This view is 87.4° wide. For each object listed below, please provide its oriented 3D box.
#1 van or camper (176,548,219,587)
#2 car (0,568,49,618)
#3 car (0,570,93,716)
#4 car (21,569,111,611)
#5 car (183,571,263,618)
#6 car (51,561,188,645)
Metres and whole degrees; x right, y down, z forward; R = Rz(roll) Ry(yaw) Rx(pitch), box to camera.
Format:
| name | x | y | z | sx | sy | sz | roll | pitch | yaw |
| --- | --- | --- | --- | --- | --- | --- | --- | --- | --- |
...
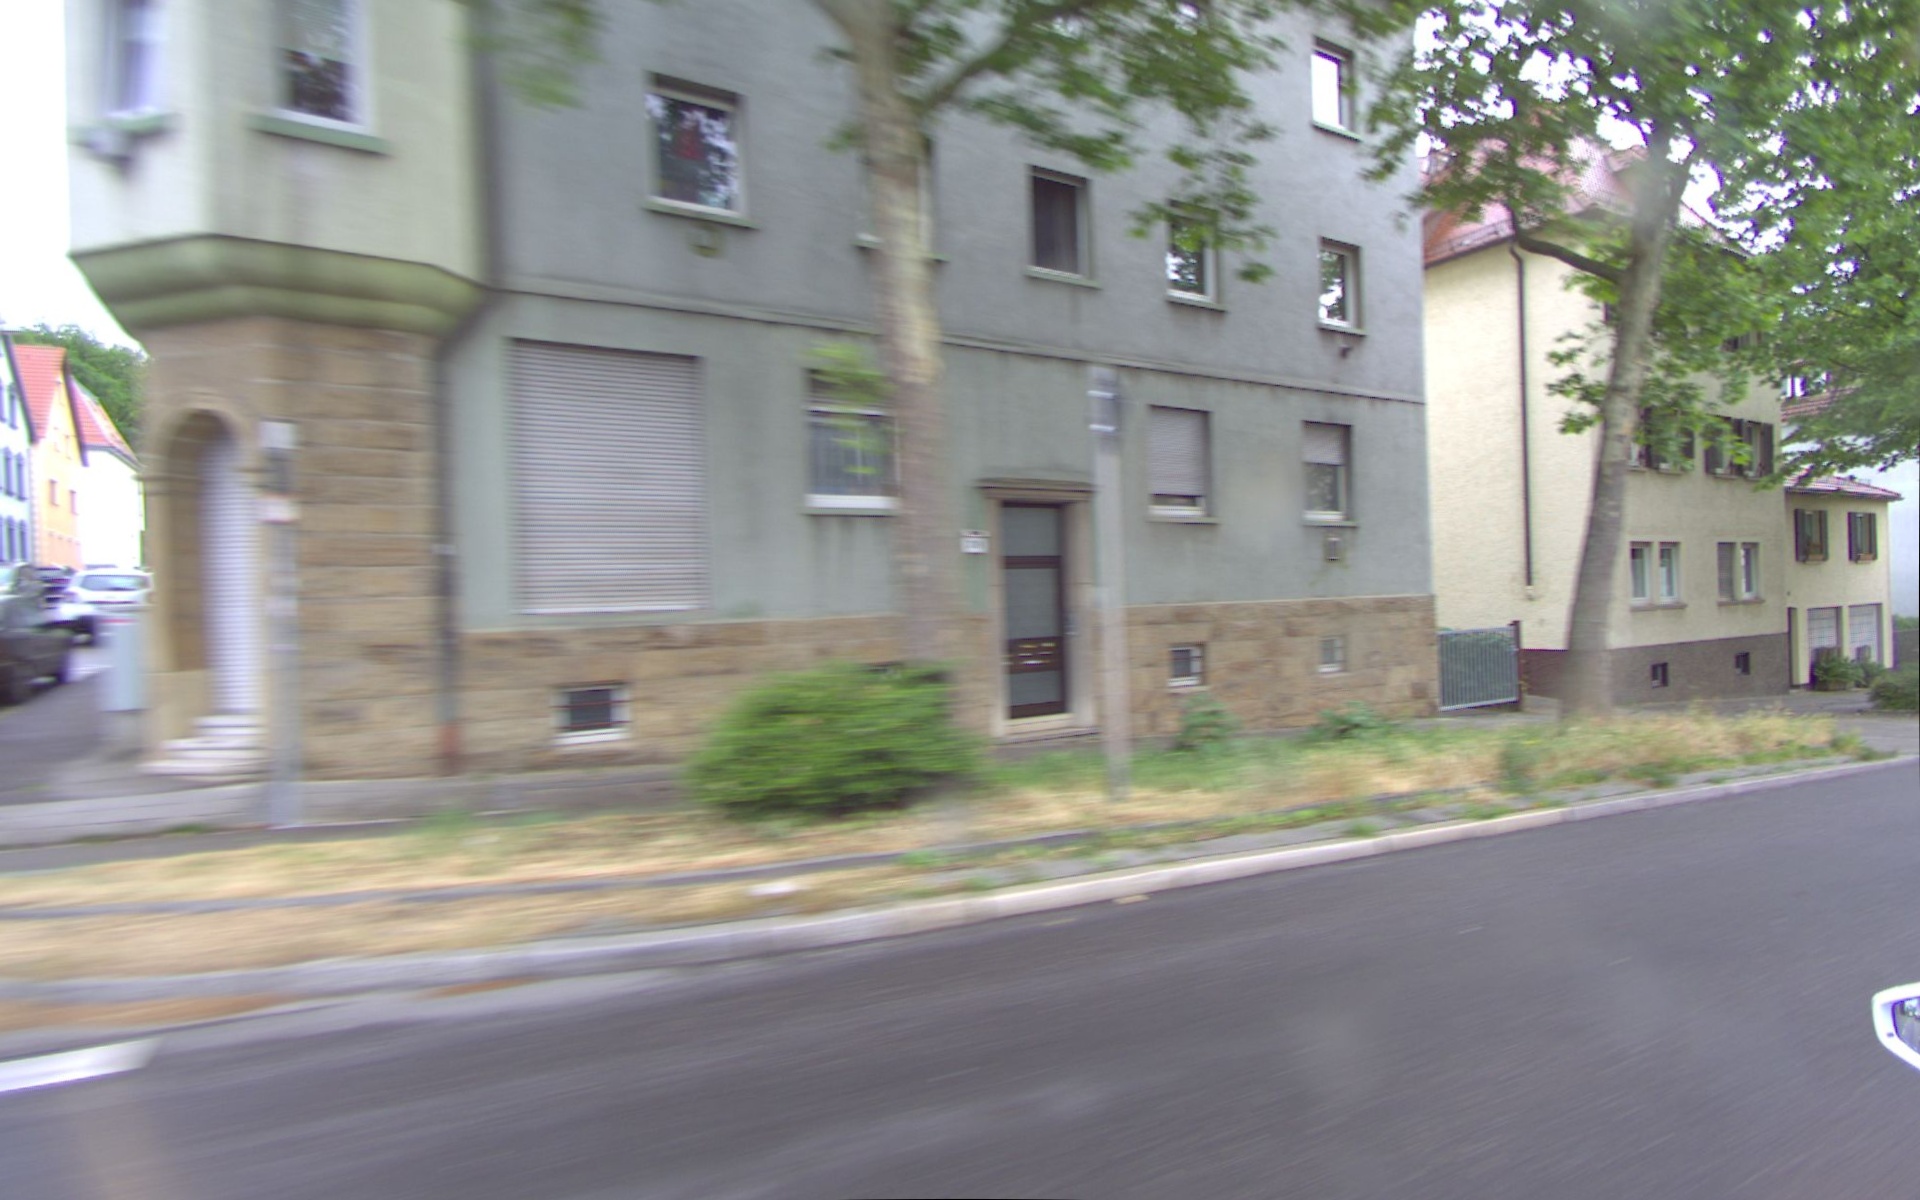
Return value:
| name | x | y | z | sx | sy | sz | roll | pitch | yaw |
| --- | --- | --- | --- | --- | --- | --- | --- | --- | --- |
| van or camper | -54.551 | -2.335 | 71.888 | 1.811 | 2.643 | 4.625 | 0 | 2 | -30 |
| car | -31.578 | -0.267 | 32.844 | 1.811 | 1.487 | 3.997 | 0 | 2 | -30 |
| car | -13.593 | 0.481 | 13.642 | 1.976 | 1.727 | 4.161 | 0 | 2 | -30 |
| car | -34.797 | -0.408 | 39.222 | 1.811 | 1.487 | 3.997 | 0 | 2 | -30 |
| car | -24.698 | -0.219 | 33.801 | 1.812 | 1.427 | 4.159 | 0 | 2 | -32 |
| car | -19.291 | -0.001 | 23.252 | 1.812 | 1.727 | 4.159 | 0 | 2 | -32 |
